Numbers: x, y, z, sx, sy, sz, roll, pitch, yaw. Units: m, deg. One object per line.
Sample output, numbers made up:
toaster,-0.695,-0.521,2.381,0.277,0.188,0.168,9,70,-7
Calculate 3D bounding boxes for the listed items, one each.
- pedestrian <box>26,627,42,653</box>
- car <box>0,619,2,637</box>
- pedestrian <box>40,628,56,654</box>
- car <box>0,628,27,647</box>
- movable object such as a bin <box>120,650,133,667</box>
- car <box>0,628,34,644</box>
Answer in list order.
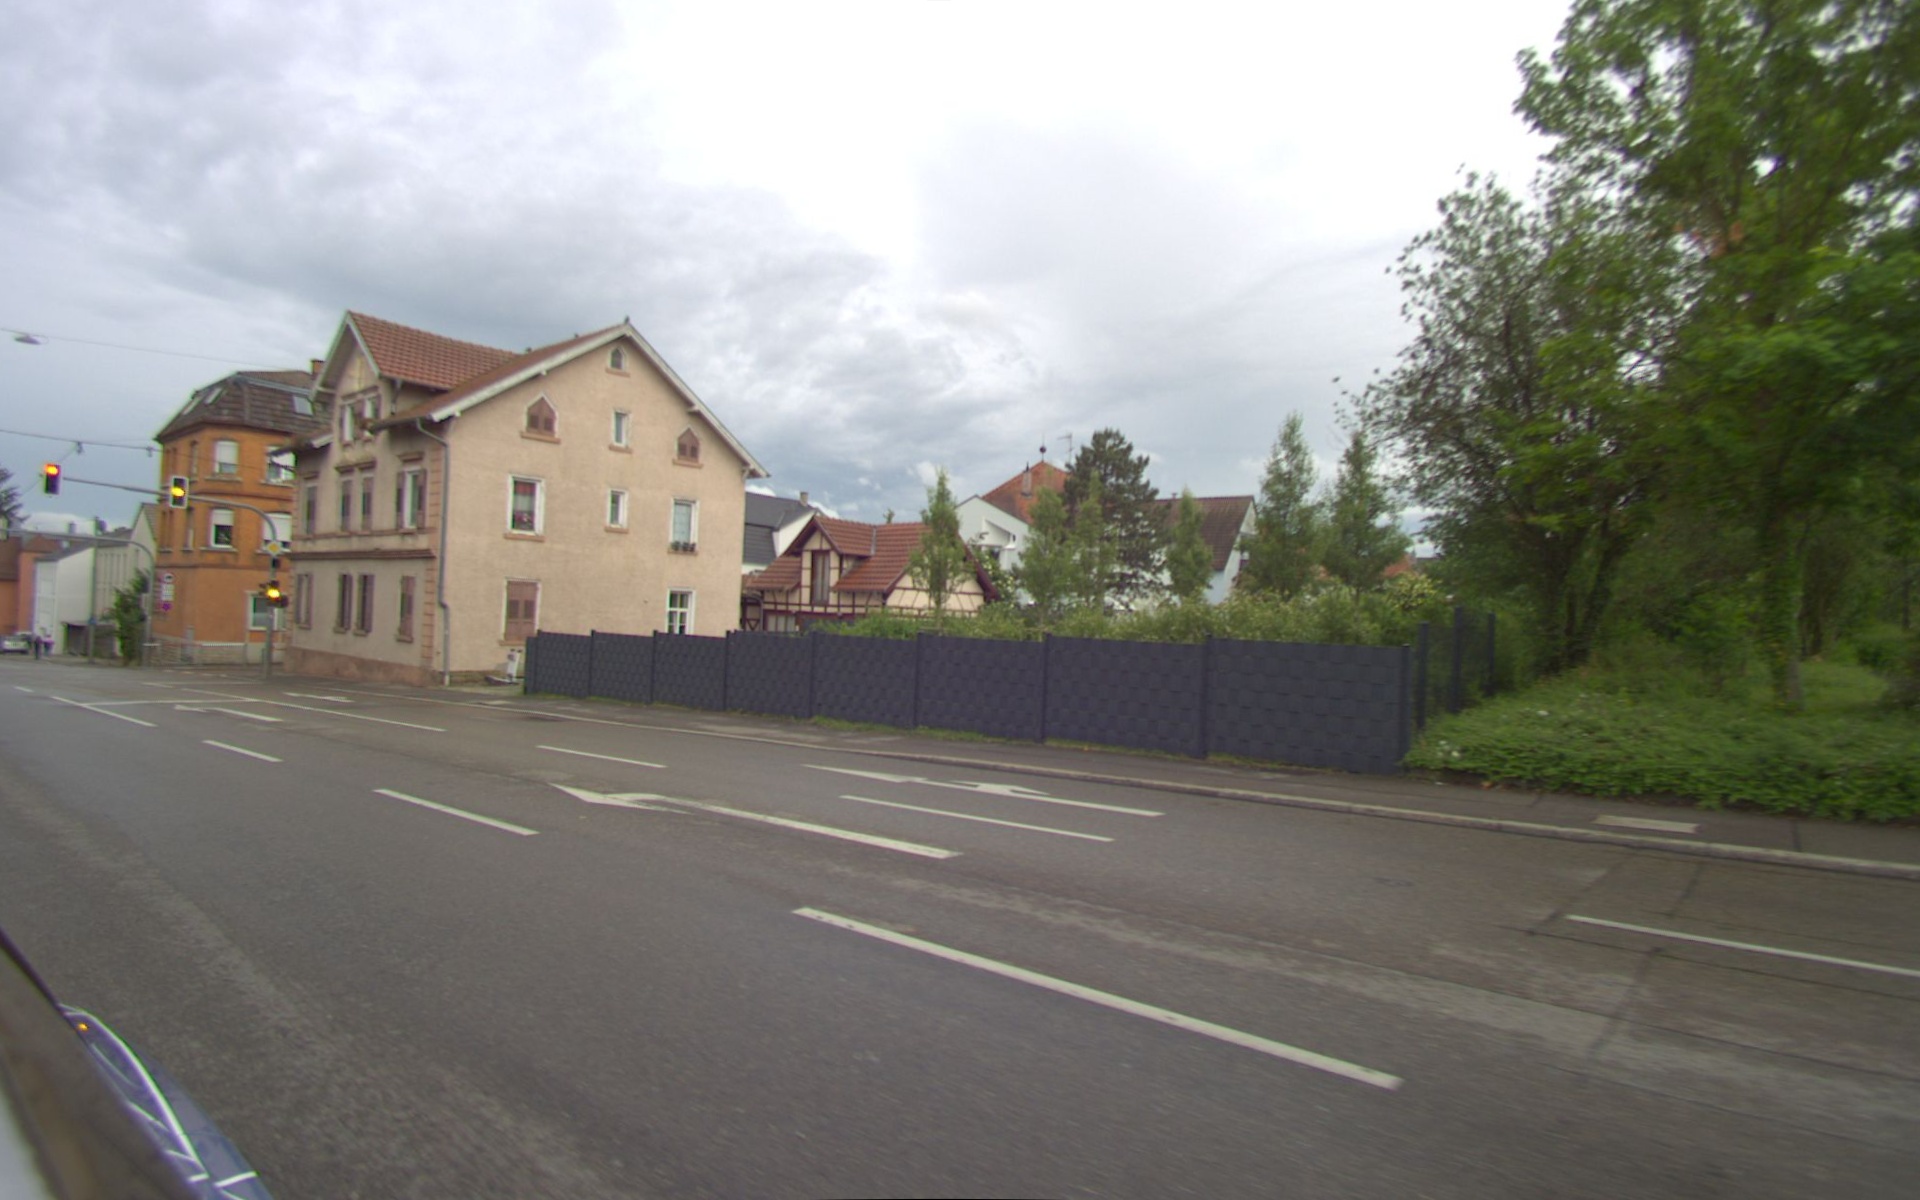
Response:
pedestrian,-62.288,2.687,68.060,0.911,1.719,0.633,-2,-3,42
car,-114.077,3.228,117.599,3.938,2.029,2.003,2,-2,-42
pedestrian,-61.811,2.765,68.594,0.911,1.719,0.633,-2,-3,42
car,-78.407,3.092,83.417,4.175,1.519,1.727,-1,-3,41
movable object such as a bin,-46.710,3.270,56.732,0.525,0.932,0.405,0,-2,35
car,-94.104,3.560,99.654,2.000,1.444,4.116,-1,-1,43
